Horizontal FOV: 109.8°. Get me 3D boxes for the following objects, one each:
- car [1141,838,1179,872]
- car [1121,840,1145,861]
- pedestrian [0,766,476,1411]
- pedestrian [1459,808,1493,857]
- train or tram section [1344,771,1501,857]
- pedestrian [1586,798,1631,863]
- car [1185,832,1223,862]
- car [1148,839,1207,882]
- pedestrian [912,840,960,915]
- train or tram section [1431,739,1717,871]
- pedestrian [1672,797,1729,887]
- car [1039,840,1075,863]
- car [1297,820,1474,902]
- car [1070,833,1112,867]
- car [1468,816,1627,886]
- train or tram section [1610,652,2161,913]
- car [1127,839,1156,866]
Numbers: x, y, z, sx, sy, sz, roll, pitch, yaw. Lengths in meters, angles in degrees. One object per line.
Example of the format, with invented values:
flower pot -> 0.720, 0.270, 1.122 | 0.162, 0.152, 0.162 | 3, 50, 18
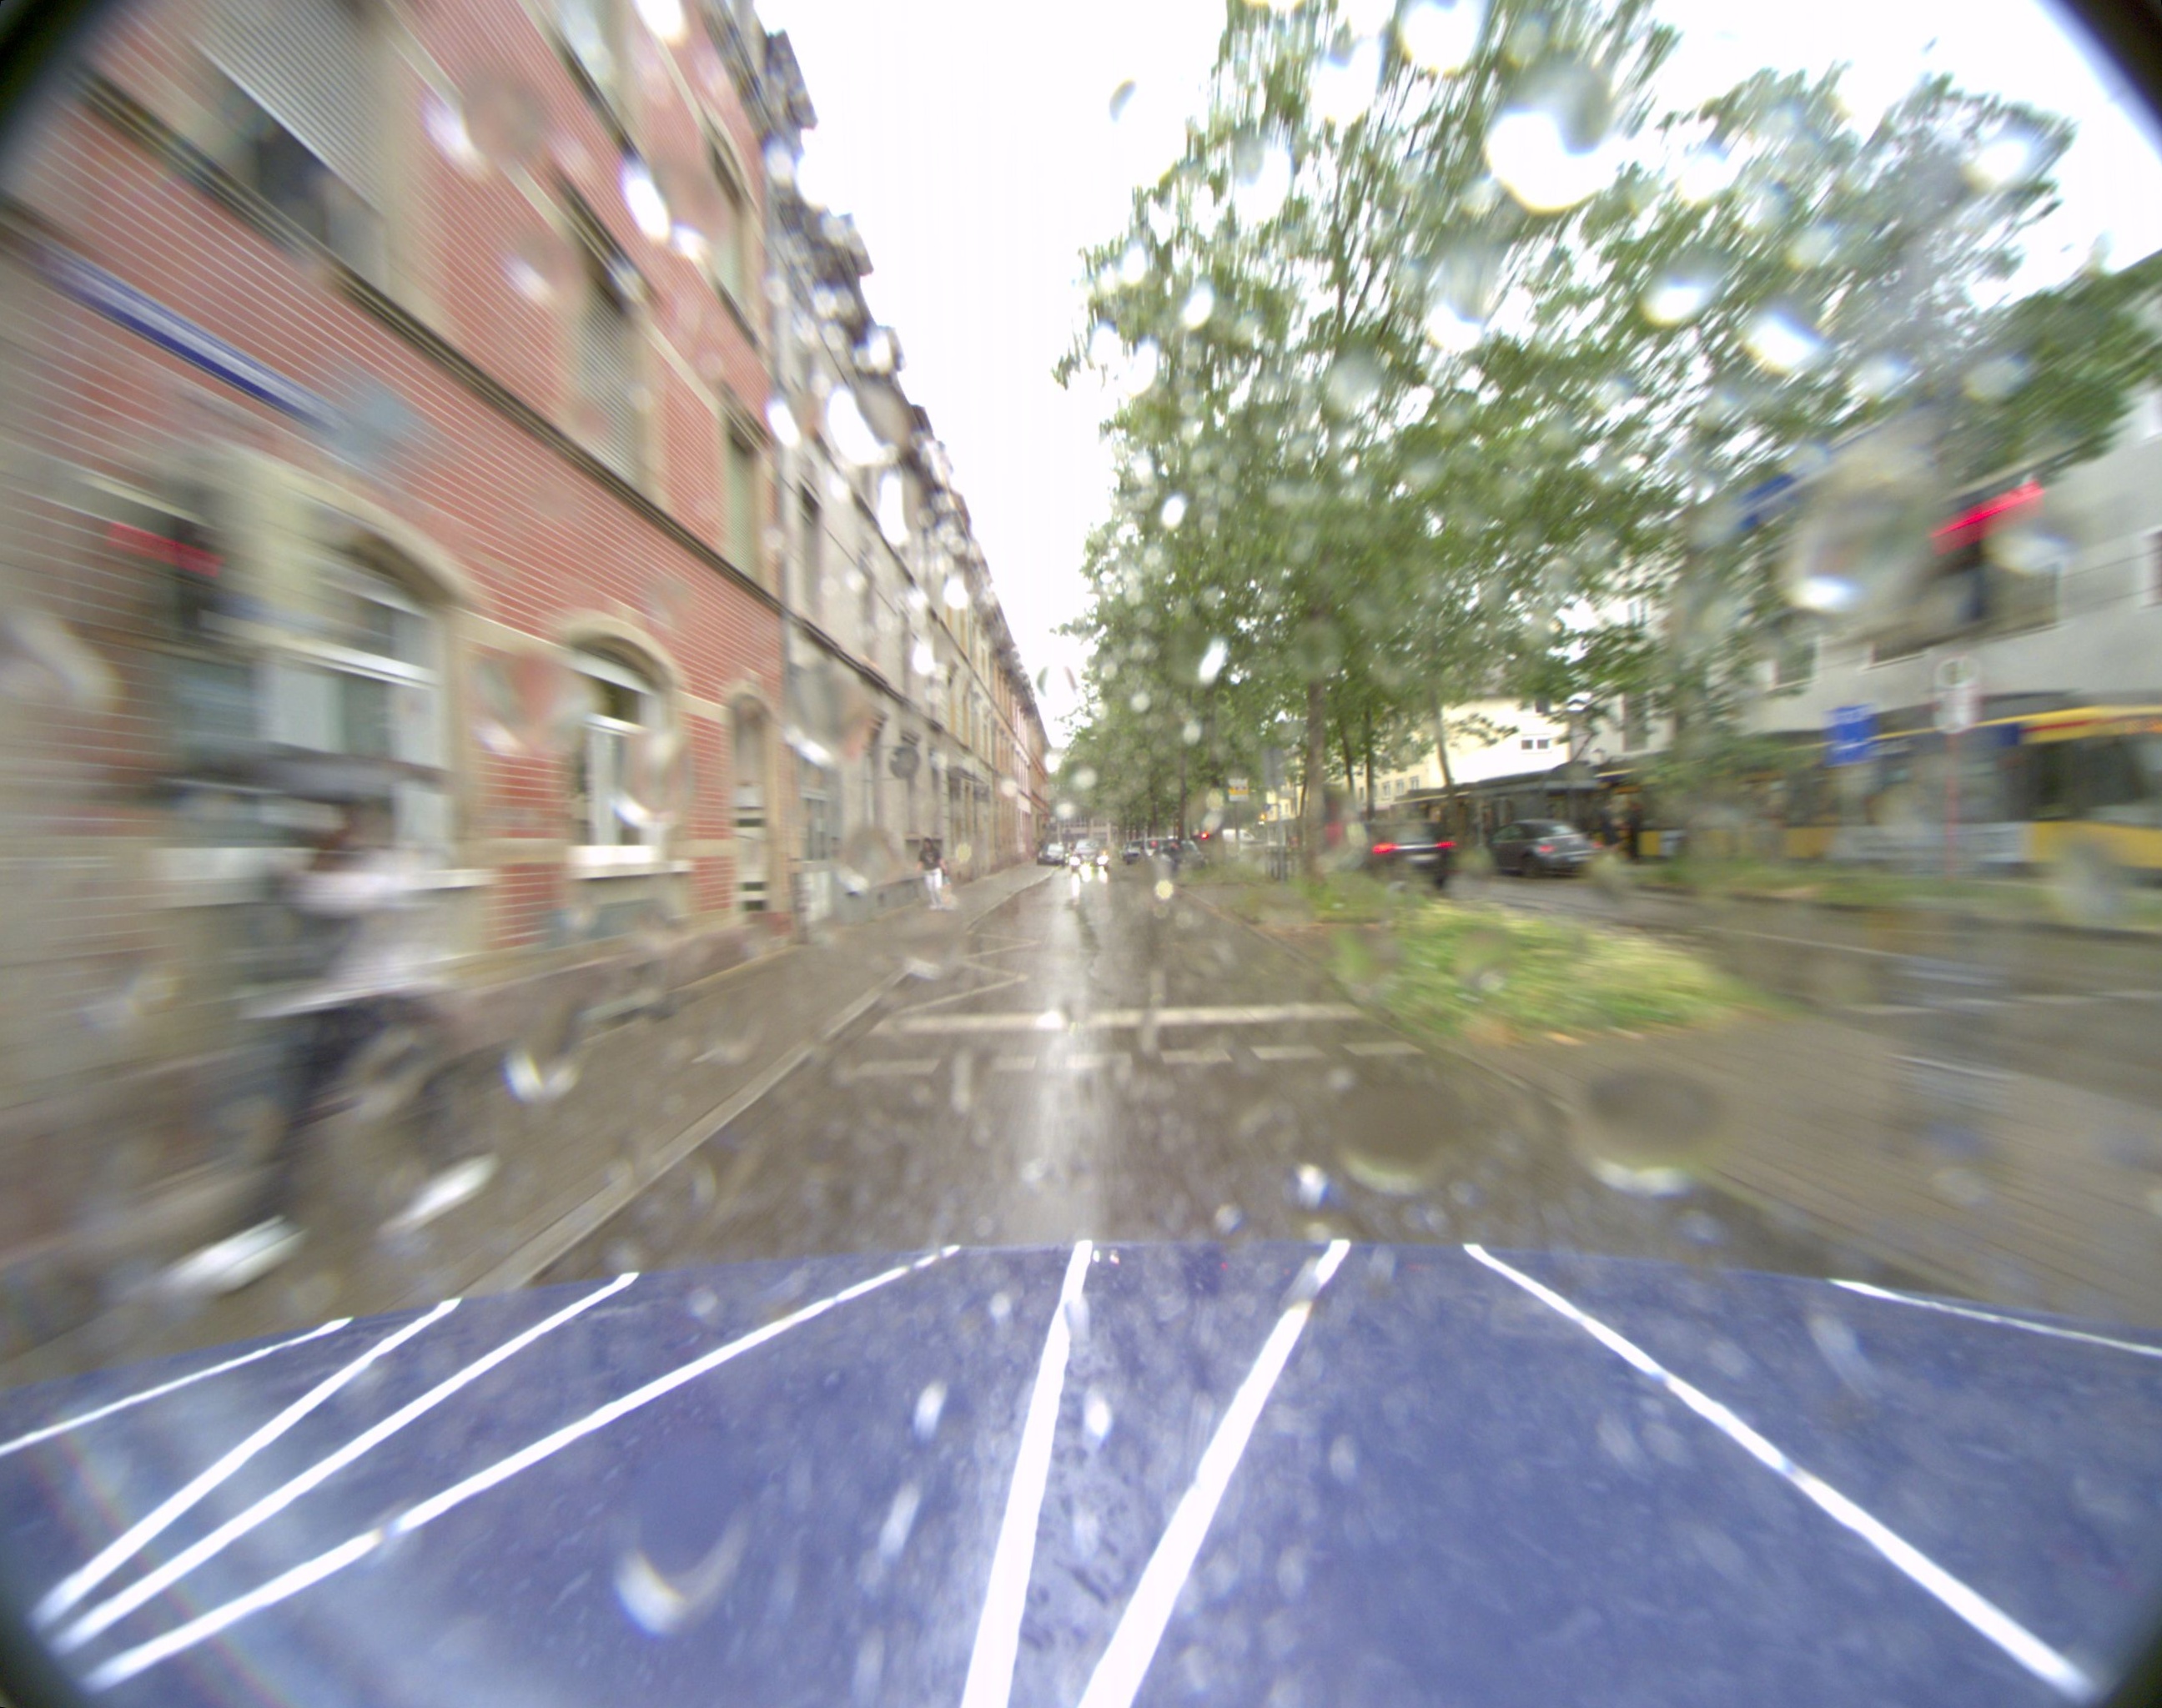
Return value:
car -> 3.942, 0.022, 38.460 | 1.572, 1.567, 3.327 | -3, 1, 1
car -> 3.807, -0.265, 56.177 | 1.664, 1.420, 3.422 | -3, 1, 3
pedestrian -> -2.918, 0.689, 2.693 | 0.787, 1.903, 0.929 | 1, 2, 0
pedestrian -> 14.785, -0.811, 28.417 | 0.959, 1.774, 0.819 | -1, 2, 38
train or tram section -> 16.955, -1.921, 39.069 | 2.907, 3.622, 11.548 | -3, 2, 1
pedestrian -> 14.796, -0.651, 21.326 | 0.959, 1.774, 0.819 | -1, 2, 38
car -> 7.385, -0.439, 45.923 | 1.676, 1.653, 3.648 | -3, 1, 0
car -> 3.623, 0.201, 29.062 | 1.732, 1.474, 4.005 | -3, 1, 1
pedestrian -> -3.153, 0.506, 16.564 | 0.849, 1.565, 0.576 | 3, 2, 1
train or tram section -> 16.756, -1.571, 27.485 | 2.907, 3.622, 11.548 | -3, 2, 1
pedestrian -> 13.110, -0.254, 16.093 | 0.663, 1.845, 0.635 | -3, 2, 1
car -> -1.516, -0.183, 49.867 | 1.976, 1.359, 4.161 | 3, 1, 3
car -> 7.006, 0.112, 18.125 | 2.062, 1.609, 4.671 | -3, 1, -4
car -> 0.599, -0.220, 40.008 | 1.976, 1.629, 4.161 | -2, 1, 3
car -> 12.129, -0.107, 20.094 | 1.676, 1.500, 3.973 | -6, 1, 0
train or tram section -> 16.589, -1.225, 15.987 | 2.907, 3.622, 11.548 | -3, 2, 1
car -> 3.880, -0.144, 48.082 | 1.663, 1.567, 3.423 | -2, 1, 7
